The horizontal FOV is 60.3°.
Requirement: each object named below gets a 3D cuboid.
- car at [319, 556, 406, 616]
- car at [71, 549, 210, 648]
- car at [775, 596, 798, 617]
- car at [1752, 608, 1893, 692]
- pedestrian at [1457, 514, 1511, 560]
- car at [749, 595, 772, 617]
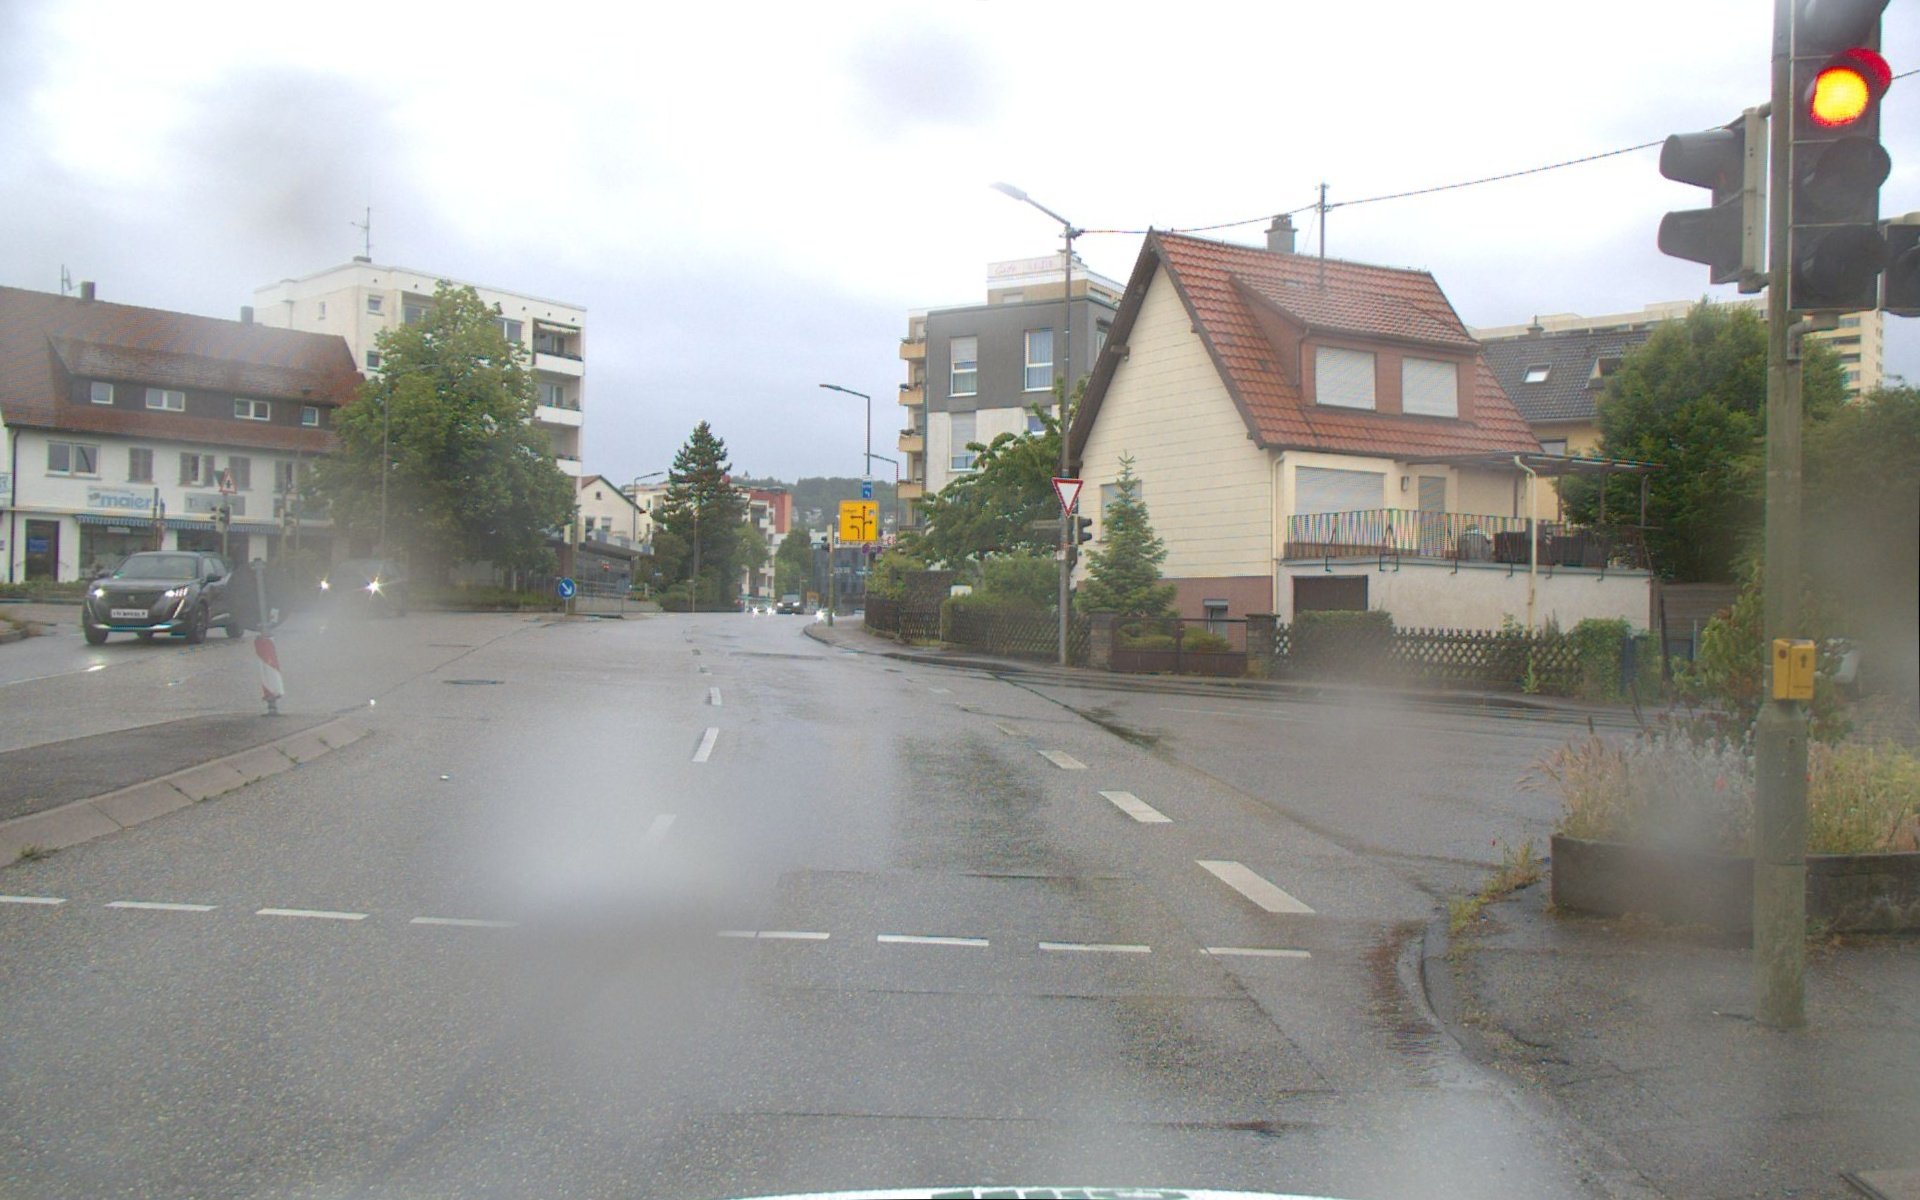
[{"bbox_3d":[-17.274,-0.374,47.995,1.846,1.625,4.170,1,0,-13],"label":"car"},{"bbox_3d":[-13.867,-0.017,28.187,1.942,1.538,3.969,1,0,-24],"label":"car"},{"bbox_3d":[-15.023,0.574,143.038,1.956,1.768,5.173,1,0,-7],"label":"car"},{"bbox_3d":[15.621,0.870,29.875,1.780,1.386,3.986,1,0,35],"label":"car"},{"bbox_3d":[11.151,-1.330,35.177,0.902,0.898,0.632,1,-2,-20],"label":"pedestrian"},{"bbox_3d":[-18.554,0.563,153.953,1.955,1.937,3.995,1,0,-5],"label":"car"}]
